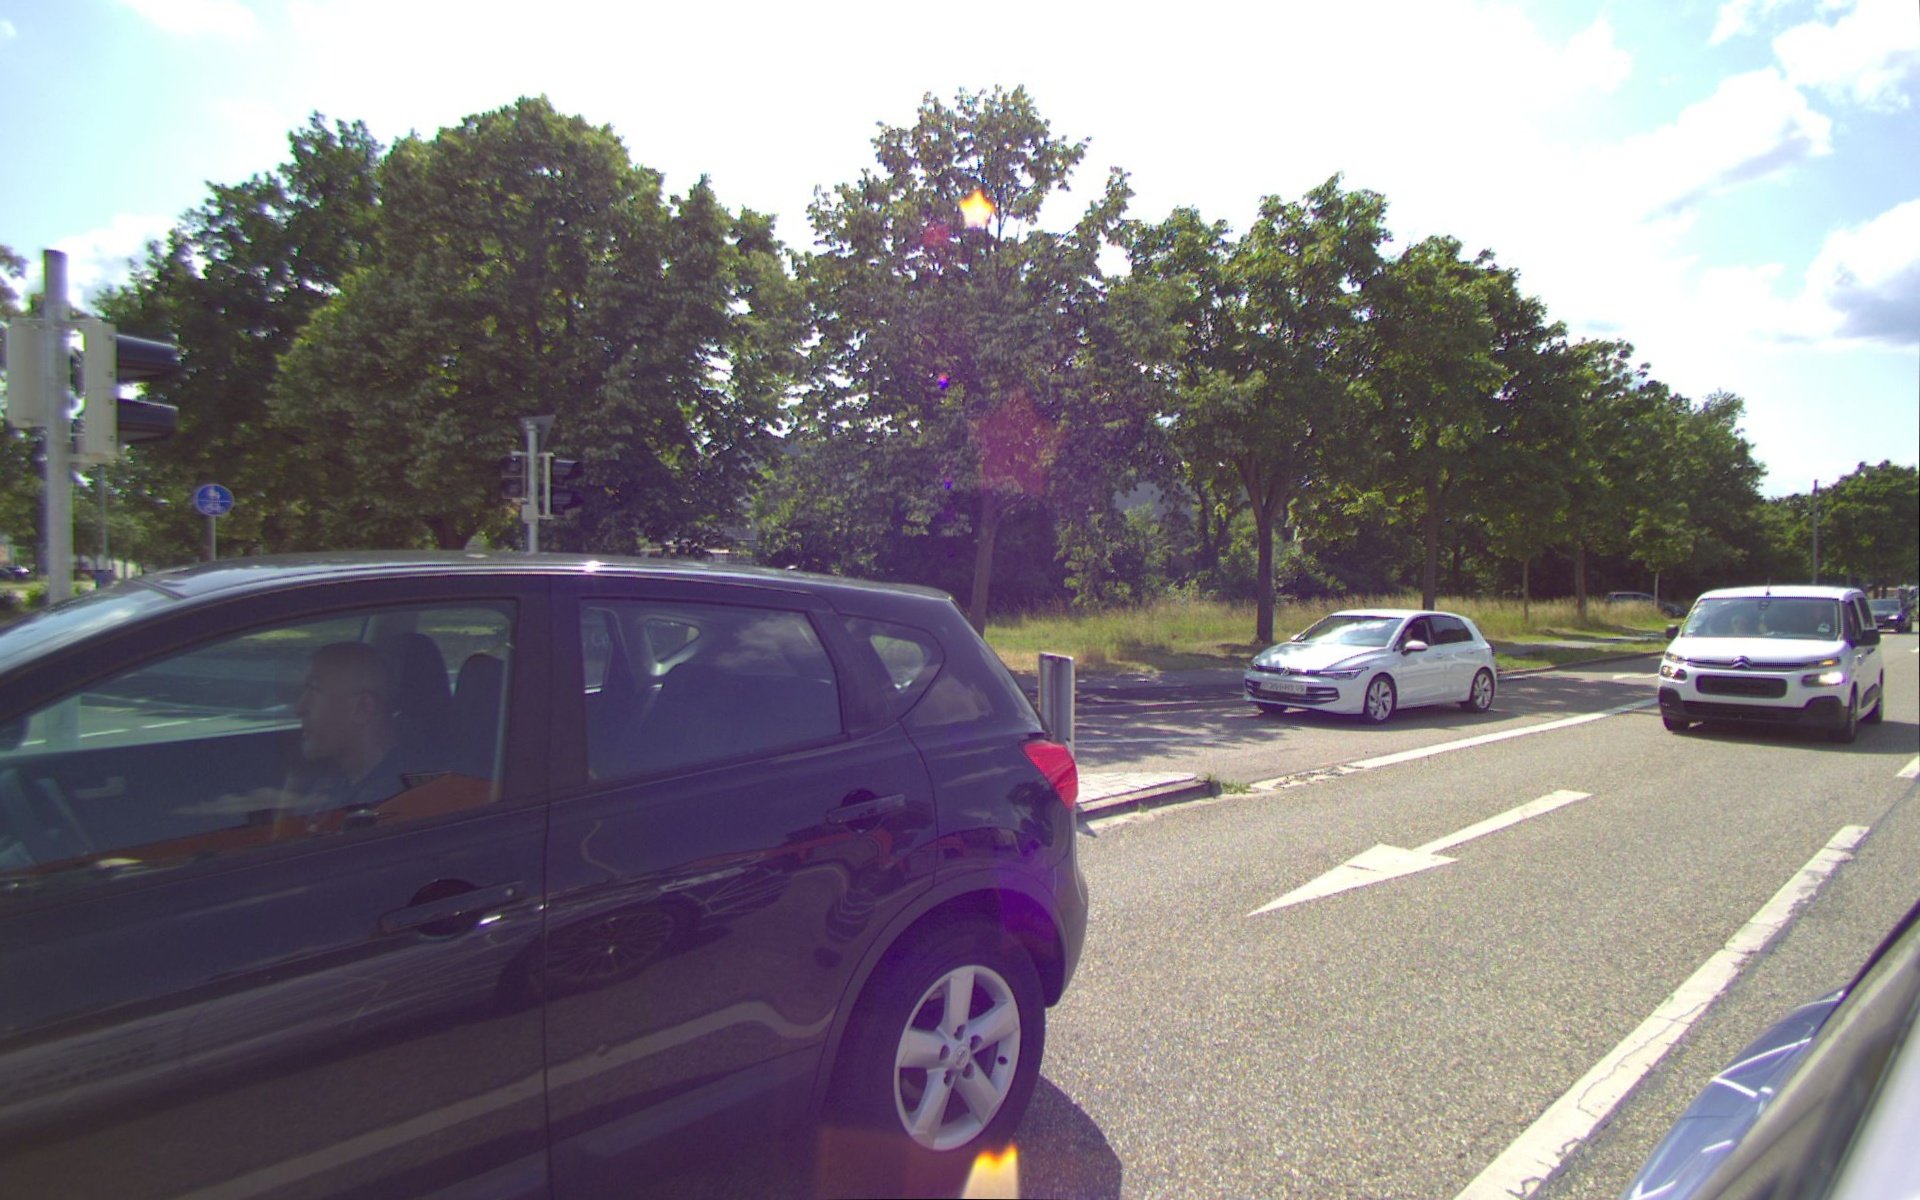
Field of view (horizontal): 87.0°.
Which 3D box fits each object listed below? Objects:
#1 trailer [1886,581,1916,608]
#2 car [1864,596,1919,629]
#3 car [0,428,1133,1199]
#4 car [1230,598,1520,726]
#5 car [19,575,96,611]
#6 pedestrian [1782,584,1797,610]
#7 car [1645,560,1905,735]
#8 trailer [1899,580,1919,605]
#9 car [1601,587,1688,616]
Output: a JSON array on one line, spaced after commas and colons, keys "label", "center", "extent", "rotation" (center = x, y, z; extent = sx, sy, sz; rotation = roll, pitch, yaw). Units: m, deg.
[{"label": "trailer", "center": [87.991, -0.526, 94.604], "extent": [1.953, 2.380, 4.533], "rotation": [2, 3, 44]}, {"label": "car", "center": [45.681, 0.594, 49.450], "extent": [3.930, 1.509, 1.757], "rotation": [-2, 0, -41]}, {"label": "car", "center": [-1.573, 0.573, 2.216], "extent": [3.933, 1.571, 1.801], "rotation": [-2, 0, -43]}, {"label": "car", "center": [5.734, 0.732, 13.836], "extent": [4.013, 1.505, 1.738], "rotation": [0, 0, -34]}, {"label": "car", "center": [-32.333, -0.238, 36.235], "extent": [1.884, 1.193, 3.768], "rotation": [-1, 0, -44]}, {"label": "pedestrian", "center": [59.953, -0.236, 73.123], "extent": [0.728, 1.816, 0.717], "rotation": [-1, -1, -45]}, {"label": "car", "center": [10.416, 0.502, 12.792], "extent": [4.637, 1.808, 1.932], "rotation": [0, -1, -44]}, {"label": "trailer", "center": [102.654, -0.822, 108.907], "extent": [4.704, 2.393, 1.996], "rotation": [-1, 6, -45]}, {"label": "car", "center": [41.876, 0.081, 61.942], "extent": [4.161, 1.511, 1.757], "rotation": [5, 2, 42]}]
